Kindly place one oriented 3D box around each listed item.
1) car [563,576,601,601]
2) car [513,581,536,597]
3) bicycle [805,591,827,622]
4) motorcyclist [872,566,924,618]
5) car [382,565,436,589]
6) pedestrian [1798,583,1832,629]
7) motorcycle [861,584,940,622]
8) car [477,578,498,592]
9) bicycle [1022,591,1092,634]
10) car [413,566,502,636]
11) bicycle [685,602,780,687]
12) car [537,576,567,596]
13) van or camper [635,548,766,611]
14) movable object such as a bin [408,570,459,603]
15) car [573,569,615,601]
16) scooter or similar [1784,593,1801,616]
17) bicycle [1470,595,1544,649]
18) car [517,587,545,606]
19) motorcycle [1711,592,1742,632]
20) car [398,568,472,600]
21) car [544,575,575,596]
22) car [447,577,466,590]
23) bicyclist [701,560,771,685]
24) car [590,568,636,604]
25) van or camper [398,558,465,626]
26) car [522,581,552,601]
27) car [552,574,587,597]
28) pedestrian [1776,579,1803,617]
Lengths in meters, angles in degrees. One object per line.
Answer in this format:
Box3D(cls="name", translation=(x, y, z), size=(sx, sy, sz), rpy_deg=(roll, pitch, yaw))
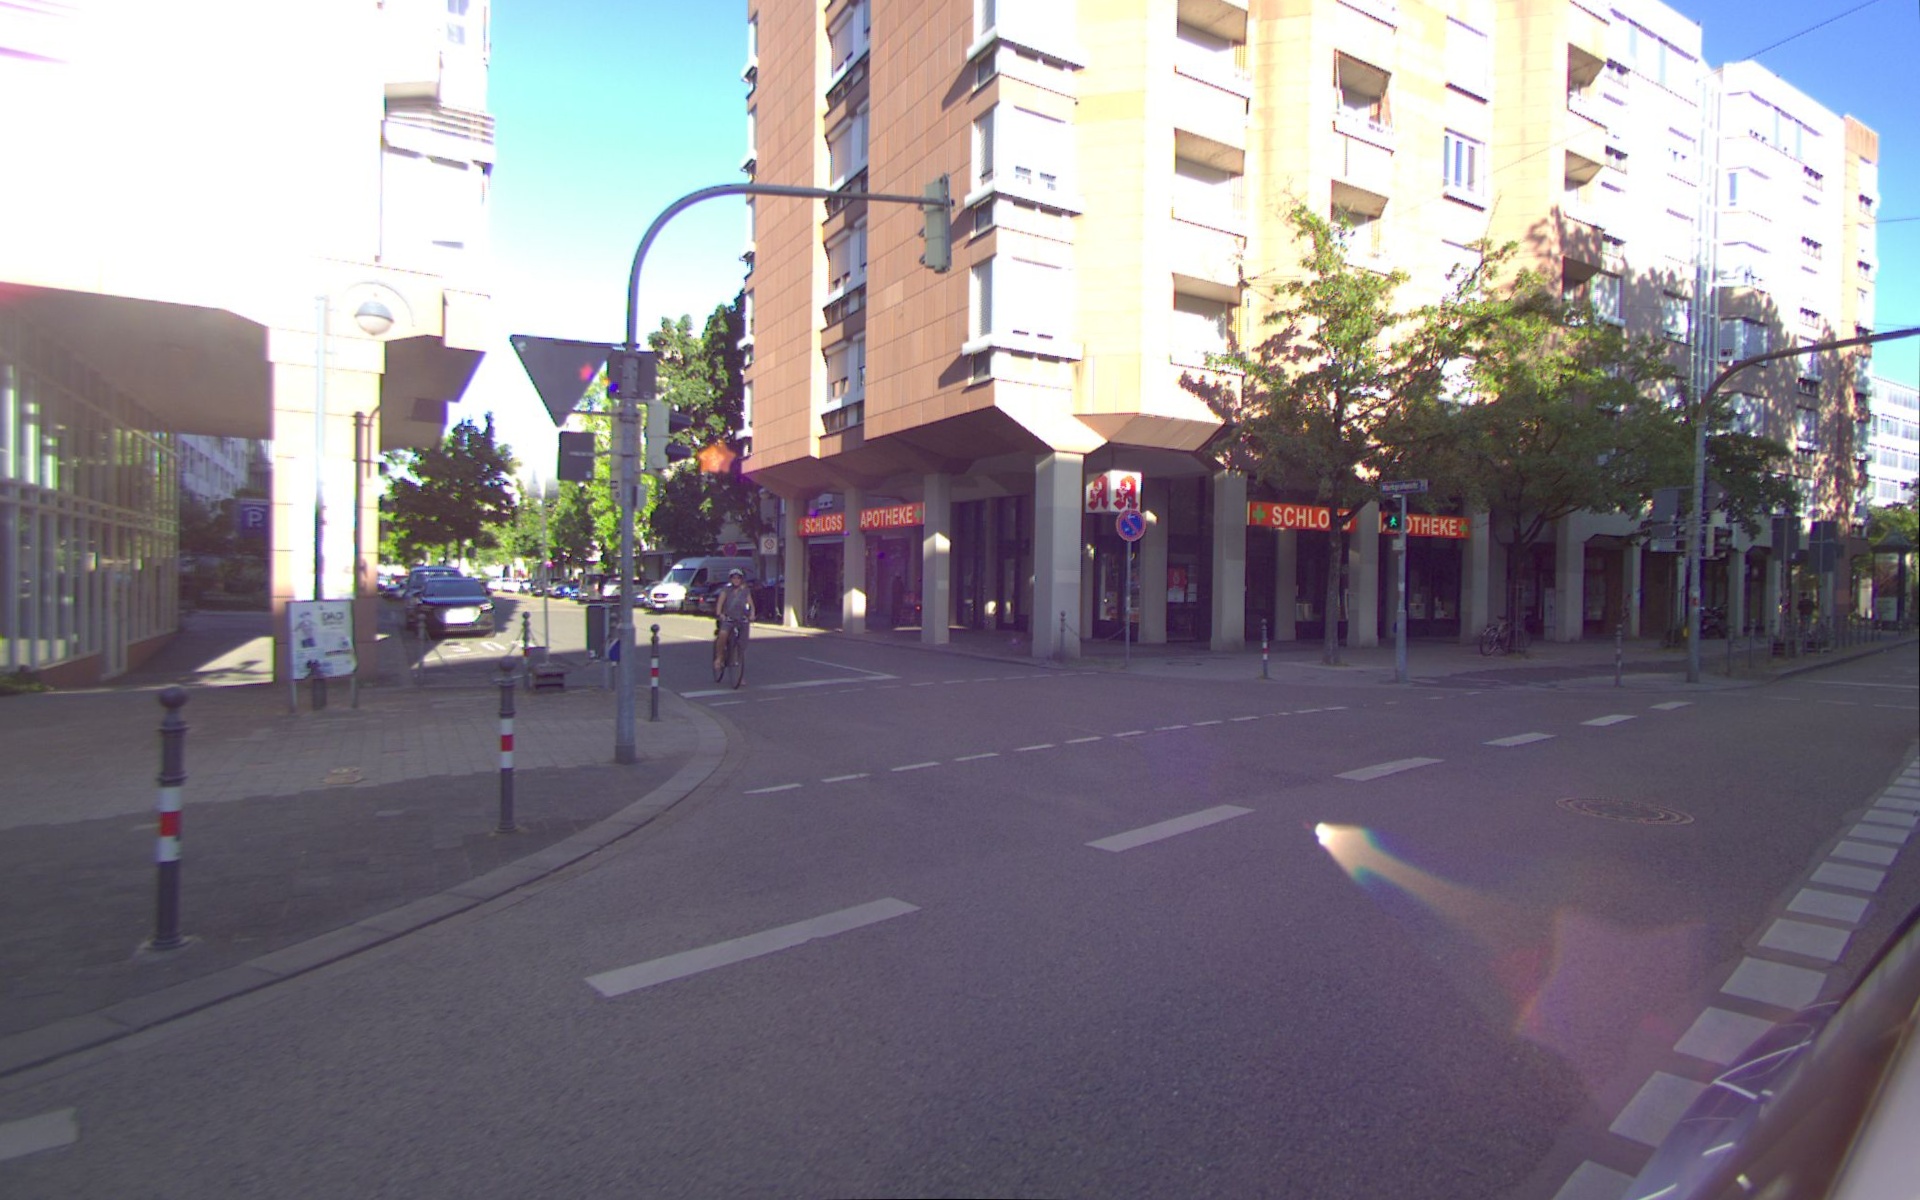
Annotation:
Box3D(cls="car", translation=(-26.129, -0.792, 69.882), size=(1.960, 1.605, 4.005), rpy_deg=(-1, 1, -28))
Box3D(cls="car", translation=(-45.682, -1.115, 106.103), size=(1.895, 1.627, 4.005), rpy_deg=(-1, 1, -28))
Box3D(cls="bicycle", translation=(-4.878, 0.215, 34.426), size=(0.600, 1.032, 1.318), rpy_deg=(0, 1, -2))
Box3D(cls="motorcyclist", translation=(-2.089, -0.282, 34.193), size=(1.310, 1.710, 1.174), rpy_deg=(-1, 0, -38))
Box3D(cls="car", translation=(-48.219, -2.037, 88.502), size=(3.925, 2.039, 2.000), rpy_deg=(0, 1, -37))
Box3D(cls="pedestrian", translation=(33.085, 0.225, 39.160), size=(0.820, 1.760, 0.784), rpy_deg=(0, 1, -33))
Box3D(cls="motorcycle", translation=(-2.034, 0.087, 34.079), size=(1.324, 1.193, 2.827), rpy_deg=(0, 1, -36))
Box3D(cls="car", translation=(-54.084, -1.737, 115.911), size=(1.960, 1.565, 4.005), rpy_deg=(-1, 1, -28))
Box3D(cls="bicycle", translation=(2.709, 0.326, 28.596), size=(0.581, 1.108, 2.452), rpy_deg=(0, 1, -32))
Box3D(cls="car", translation=(-13.700, -0.030, 27.468), size=(1.766, 1.743, 4.202), rpy_deg=(0, 1, -32))
Box3D(cls="bicycle", translation=(-3.437, 0.625, 15.154), size=(0.788, 1.127, 1.922), rpy_deg=(0, 1, -33))
Box3D(cls="car", translation=(-33.484, -1.153, 82.993), size=(1.831, 1.605, 4.005), rpy_deg=(-1, 1, -28))
Box3D(cls="van or camper", translation=(-12.283, -0.963, 48.483), size=(2.338, 2.801, 6.387), rpy_deg=(1, 1, 29))
Box3D(cls="movable object such as a bin", translation=(-25.863, -0.678, 49.779), size=(2.114, 1.518, 1.734), rpy_deg=(-1, 2, -25))
Box3D(cls="car", translation=(-23.668, -0.954, 65.320), size=(1.960, 2.039, 4.005), rpy_deg=(-1, 1, -28))
Box3D(cls="scooter or similar", translation=(48.418, 0.271, 58.873), size=(0.481, 1.290, 1.436), rpy_deg=(1, 1, 29))
Box3D(cls="bicycle", translation=(13.048, 0.518, 24.112), size=(1.887, 1.241, 0.624), rpy_deg=(0, 1, -29))
Box3D(cls="car", translation=(-39.214, -0.326, 92.439), size=(1.960, 1.661, 4.005), rpy_deg=(-1, 1, -28))
Box3D(cls="motorcycle", translation=(27.326, 0.424, 36.066), size=(2.054, 1.389, 0.489), rpy_deg=(0, 1, -41))
Box3D(cls="car", translation=(-30.760, -0.955, 59.407), size=(3.642, 1.829, 1.734), rpy_deg=(0, 1, -20))
Box3D(cls="car", translation=(-31.362, -1.123, 79.188), size=(1.831, 1.605, 4.005), rpy_deg=(-1, 1, -28))
Box3D(cls="car", translation=(-60.131, -1.964, 120.881), size=(1.960, 1.565, 4.005), rpy_deg=(-1, 1, -28))
Box3D(cls="bicyclist", translation=(-3.316, 0.309, 14.964), size=(0.773, 1.792, 0.828), rpy_deg=(0, 1, -33))
Box3D(cls="car", translation=(-20.913, -0.843, 60.886), size=(1.960, 2.039, 4.005), rpy_deg=(-1, 1, -28))
Box3D(cls="van or camper", translation=(-16.990, -0.300, 32.429), size=(1.765, 1.997, 4.582), rpy_deg=(0, 1, -29))
Box3D(cls="car", translation=(-36.644, -0.787, 87.645), size=(1.960, 1.661, 4.005), rpy_deg=(-1, 1, -28))
Box3D(cls="car", translation=(-29.024, -1.059, 75.121), size=(1.960, 1.605, 4.005), rpy_deg=(-1, 1, -28))
Box3D(cls="pedestrian", translation=(43.641, -0.112, 53.247), size=(0.836, 2.006, 0.815), rpy_deg=(1, 0, 15))
